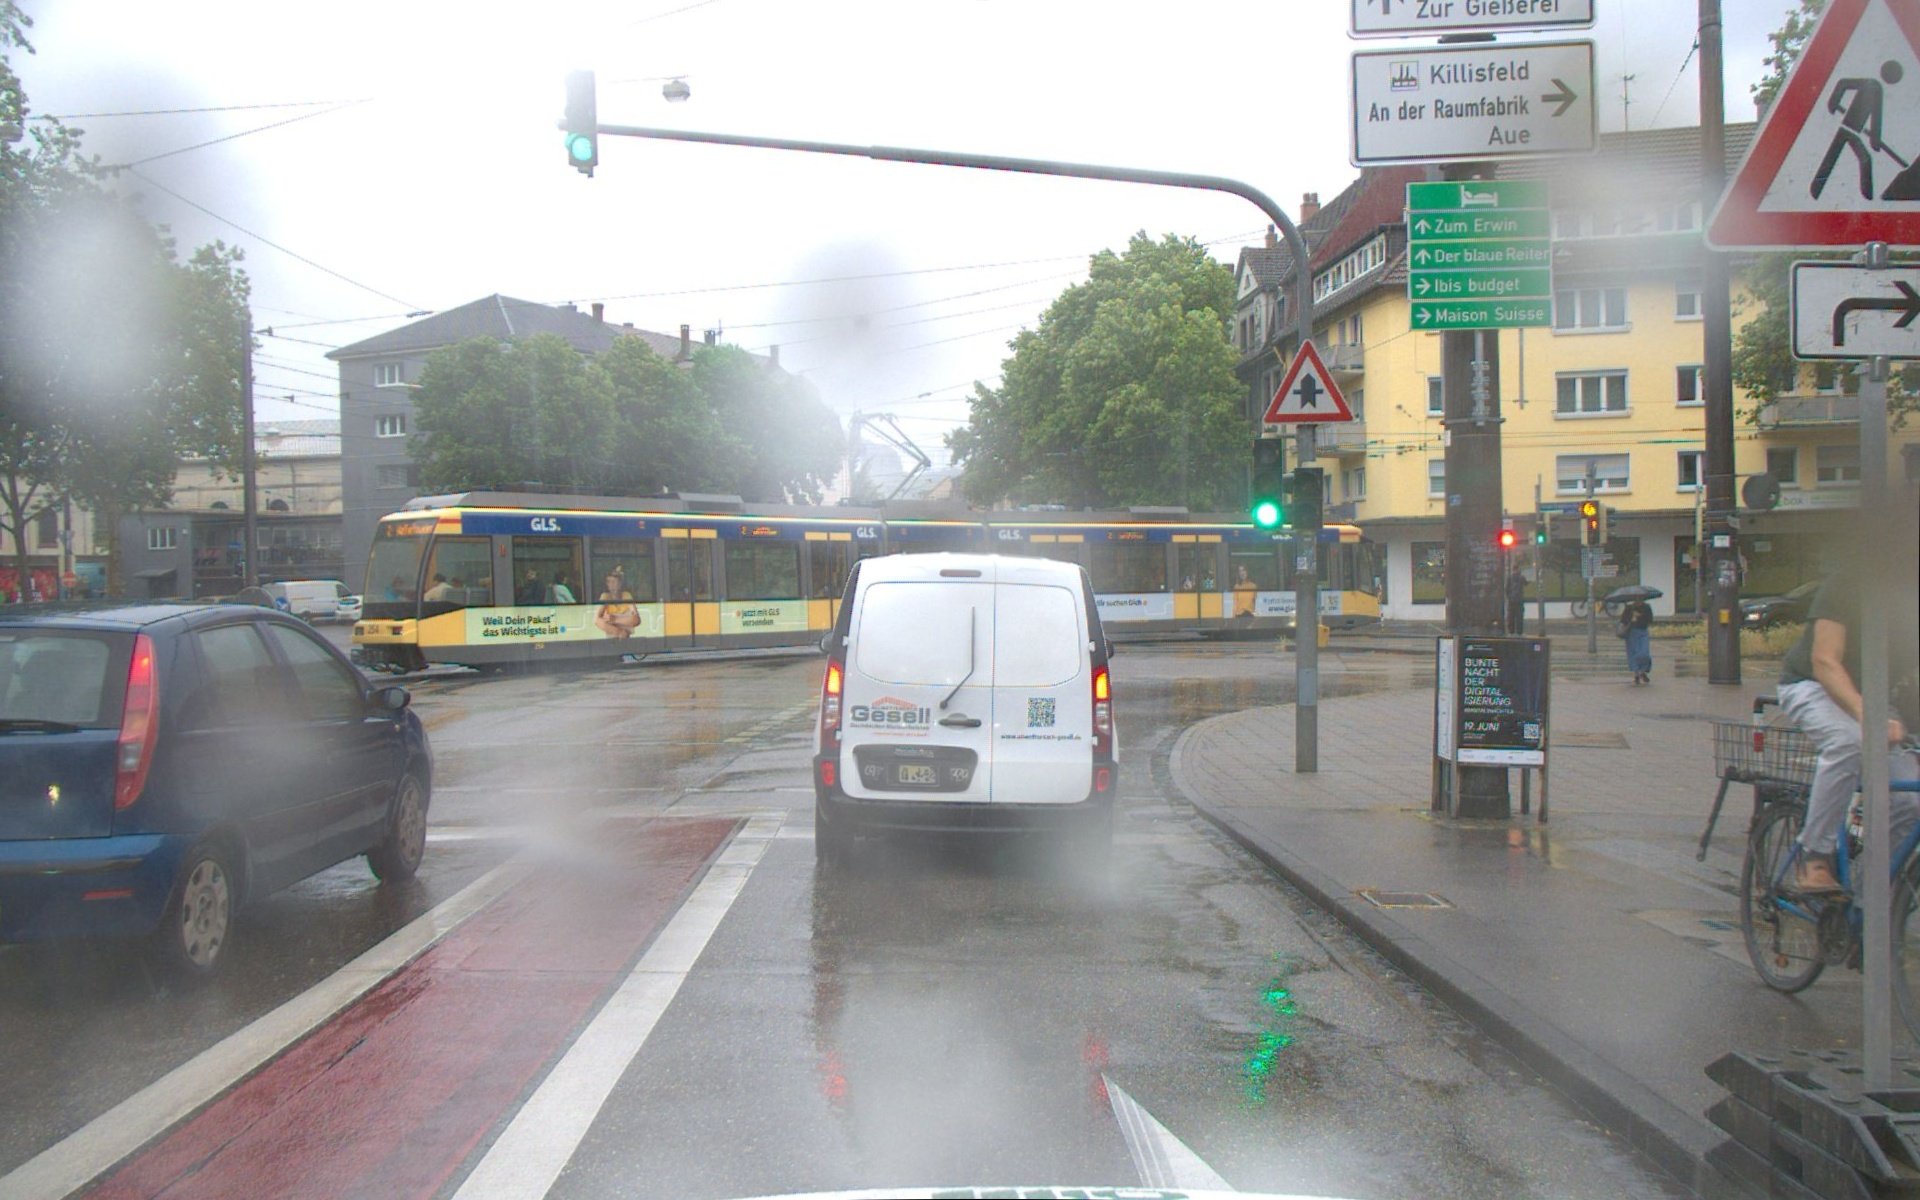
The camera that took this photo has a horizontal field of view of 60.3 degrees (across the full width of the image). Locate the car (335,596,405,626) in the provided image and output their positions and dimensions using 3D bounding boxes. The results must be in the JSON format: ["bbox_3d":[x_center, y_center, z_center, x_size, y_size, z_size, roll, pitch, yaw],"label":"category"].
[{"bbox_3d":[-31.007,0.577,86.938,1.500,1.473,3.399,0,1,25],"label":"car"}]

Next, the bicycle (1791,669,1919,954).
[{"bbox_3d":[4.246,0.913,6.921,0.503,1.126,2.017,3,0,1],"label":"bicycle"}]

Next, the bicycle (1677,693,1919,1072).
[{"bbox_3d":[3.119,0.901,5.712,0.449,1.045,1.901,0,0,0],"label":"bicycle"}]

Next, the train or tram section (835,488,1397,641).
[{"bbox_3d":[4.429,-0.770,43.763,15.264,3.472,3.522,1,0,-27],"label":"train or tram section"}]

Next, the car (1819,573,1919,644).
[{"bbox_3d":[21.013,0.167,35.941,3.854,1.516,1.808,0,1,15],"label":"car"}]

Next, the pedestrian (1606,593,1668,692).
[{"bbox_3d":[10.820,0.664,26.418,0.809,1.561,0.614,1,0,-39],"label":"pedestrian"}]

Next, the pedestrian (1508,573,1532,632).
[{"bbox_3d":[14.753,0.069,43.578,0.607,1.526,0.553,0,0,19],"label":"pedestrian"}]

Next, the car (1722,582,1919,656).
[{"bbox_3d":[20.857,0.464,39.086,4.832,1.672,2.001,0,-2,11],"label":"car"}]

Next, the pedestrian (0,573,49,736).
[{"bbox_3d":[-9.794,0.542,16.899,0.613,1.635,0.741,0,0,-8],"label":"pedestrian"}]

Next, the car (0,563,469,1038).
[{"bbox_3d":[-3.622,0.673,7.491,1.692,1.606,3.820,0,0,-1],"label":"car"}]

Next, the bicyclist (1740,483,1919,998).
[{"bbox_3d":[3.221,0.441,5.579,0.859,1.611,0.861,0,0,9],"label":"bicyclist"}]

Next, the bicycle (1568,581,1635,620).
[{"bbox_3d":[21.549,0.007,55.604,2.056,1.283,0.532,0,1,14],"label":"bicycle"}]

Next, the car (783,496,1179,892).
[{"bbox_3d":[0.074,0.495,11.093,2.058,2.047,4.962,0,0,-1],"label":"car"}]

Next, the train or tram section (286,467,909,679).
[{"bbox_3d":[-6.735,-0.403,34.400,3.457,3.574,13.597,1,0,38],"label":"train or tram section"}]

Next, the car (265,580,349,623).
[{"bbox_3d":[-34.166,0.076,86.593,1.605,2.170,4.099,0,0,25],"label":"car"}]
